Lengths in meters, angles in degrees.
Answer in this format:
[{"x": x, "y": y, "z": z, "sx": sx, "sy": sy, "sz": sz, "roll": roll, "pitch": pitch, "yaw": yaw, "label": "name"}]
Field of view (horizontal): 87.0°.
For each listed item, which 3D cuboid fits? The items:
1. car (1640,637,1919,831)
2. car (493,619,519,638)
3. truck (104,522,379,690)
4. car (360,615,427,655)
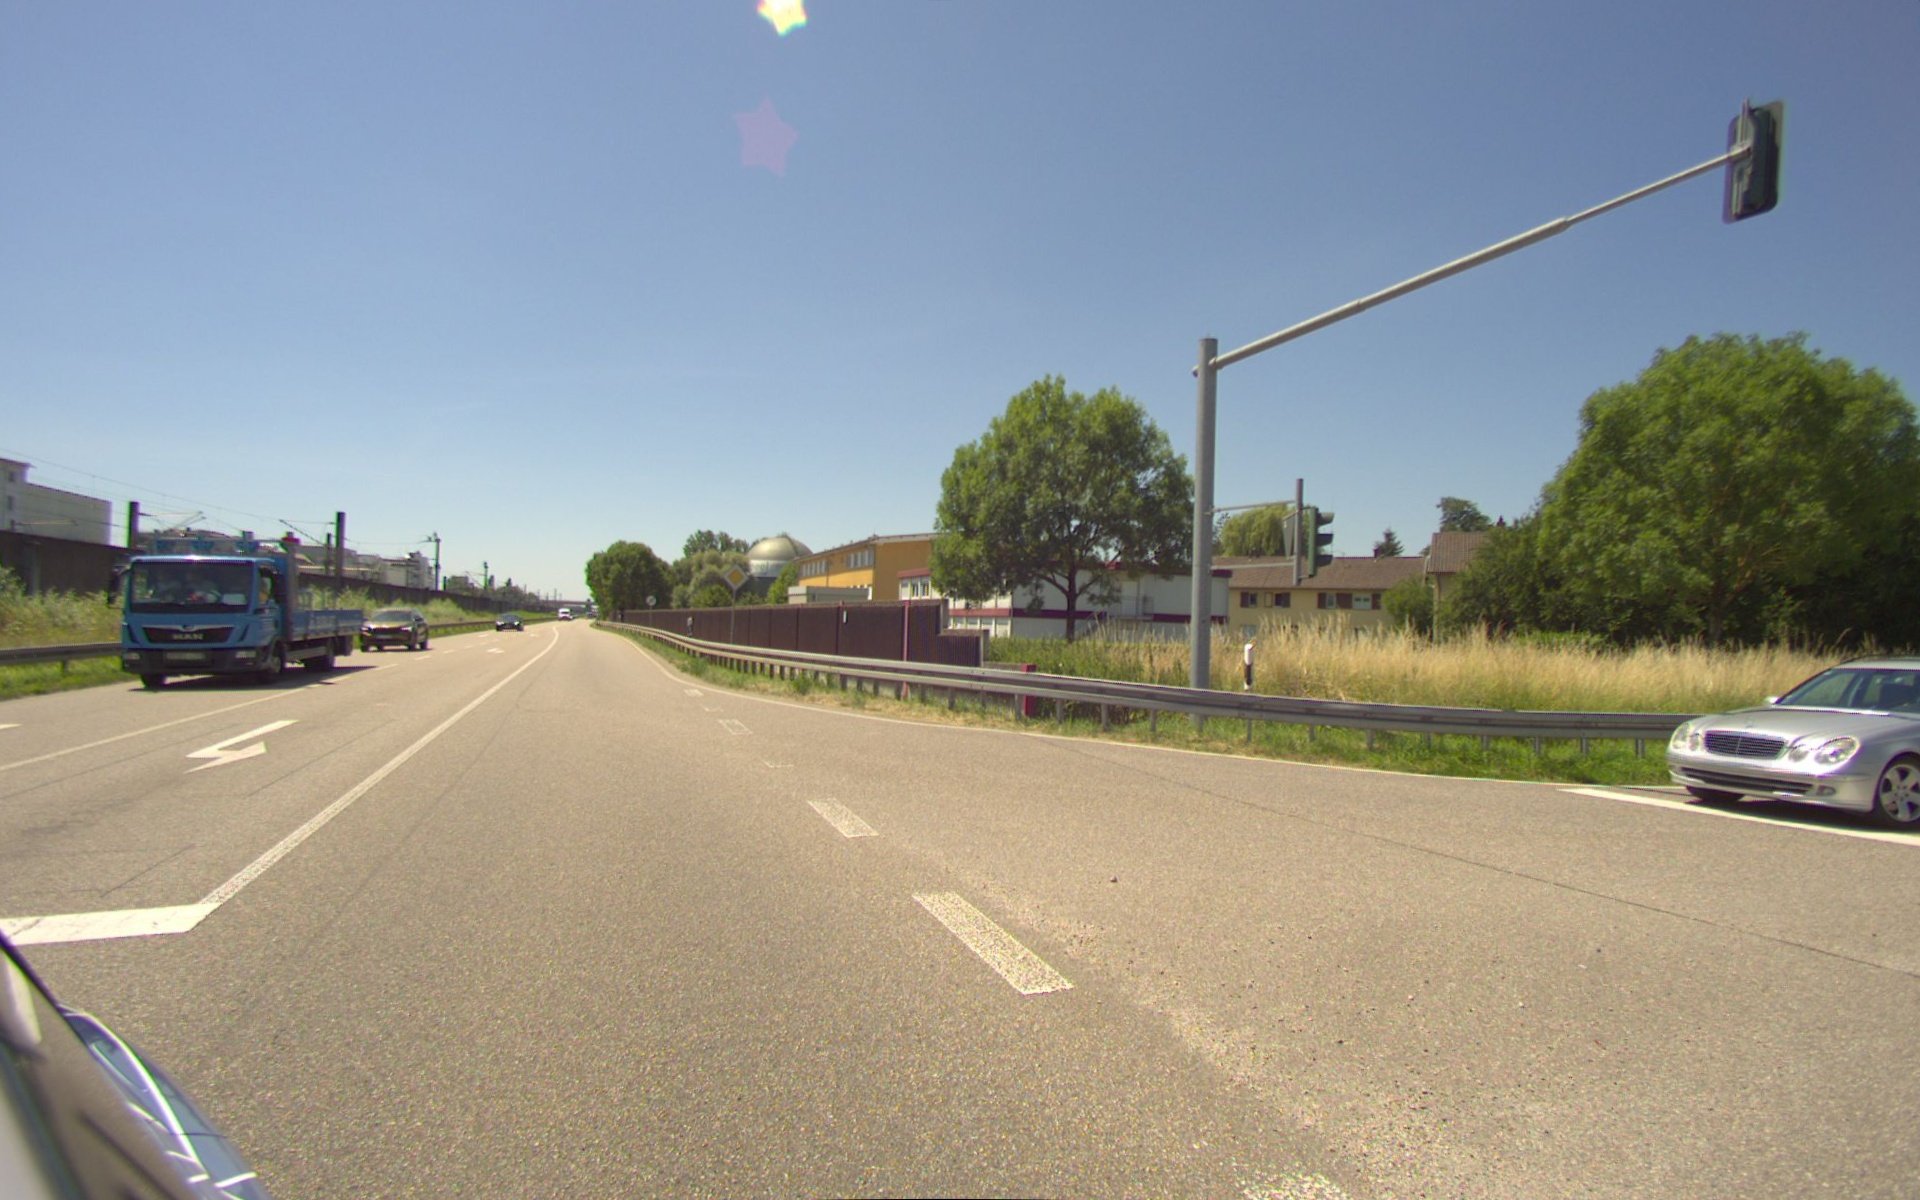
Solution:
[{"x": 9.126, "y": 1.124, "z": 9.503, "sx": 4.885, "sy": 1.468, "sz": 1.883, "roll": 1, "pitch": -1, "yaw": -17, "label": "car"}, {"x": -37.550, "y": 2.321, "z": 83.788, "sx": 1.701, "sy": 1.484, "sz": 3.902, "roll": 1, "pitch": -1, "yaw": -20, "label": "car"}, {"x": -16.221, "y": 0.205, "z": 23.906, "sx": 2.573, "sy": 3.065, "sz": 10.690, "roll": 1, "pitch": -1, "yaw": -20, "label": "truck"}, {"x": -21.827, "y": 1.319, "z": 39.103, "sx": 1.701, "sy": 1.484, "sz": 4.190, "roll": 1, "pitch": -1, "yaw": -22, "label": "car"}]
